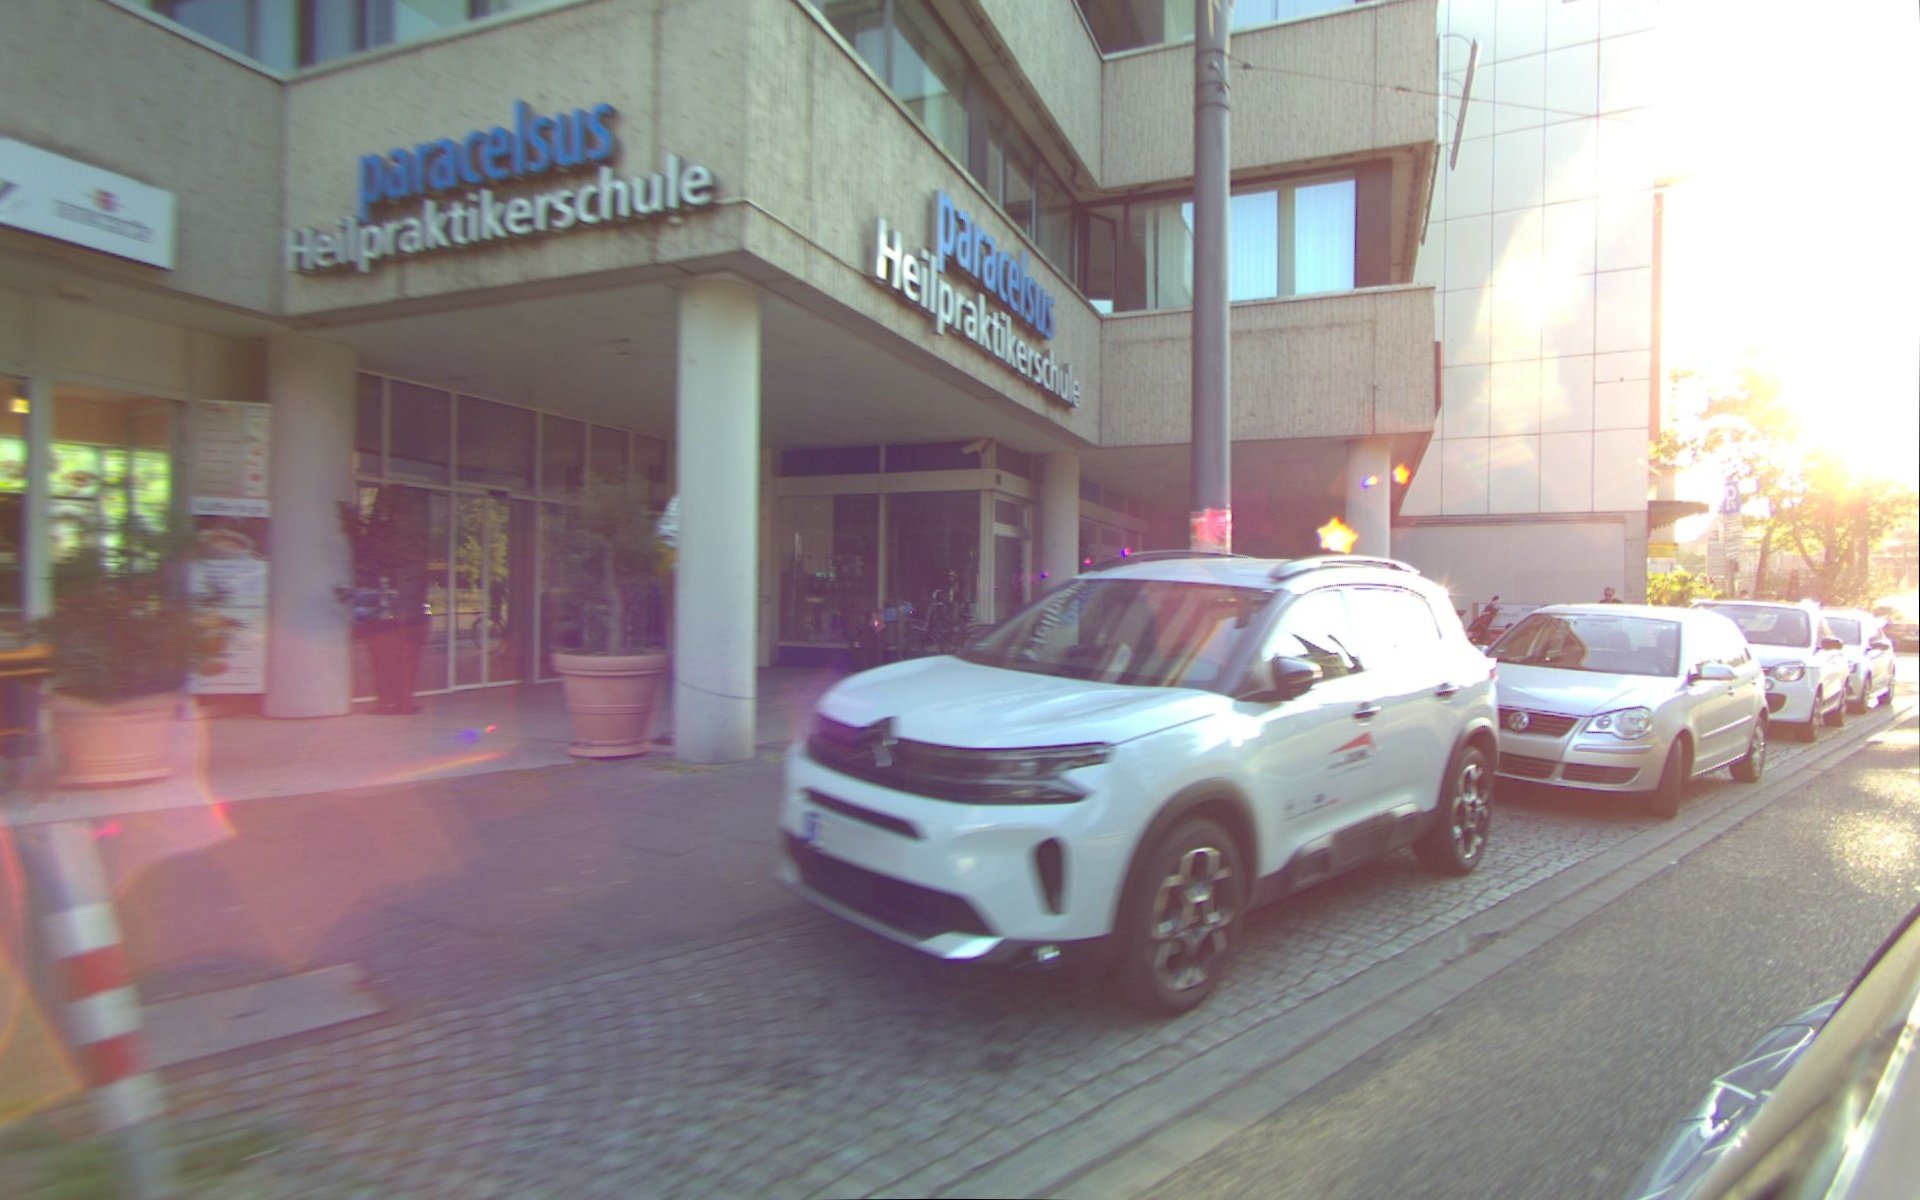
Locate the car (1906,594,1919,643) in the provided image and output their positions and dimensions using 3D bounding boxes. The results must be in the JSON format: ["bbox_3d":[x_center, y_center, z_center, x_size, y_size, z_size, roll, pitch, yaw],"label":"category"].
[{"bbox_3d":[35.276,0.640,36.317,1.805,1.691,4.734,-1,-1,45],"label":"car"}]

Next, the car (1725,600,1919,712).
[{"bbox_3d":[13.568,0.765,15.781,3.929,1.474,1.788,0,1,-40],"label":"car"}]

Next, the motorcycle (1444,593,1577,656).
[{"bbox_3d":[11.091,0.474,20.447,2.272,1.205,0.695,0,-1,40],"label":"motorcycle"}]

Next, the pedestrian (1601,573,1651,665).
[{"bbox_3d":[12.218,0.342,18.588,0.634,1.648,0.849,0,-1,25],"label":"pedestrian"}]

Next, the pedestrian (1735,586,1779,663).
[{"bbox_3d":[19.215,0.586,24.423,0.634,1.809,0.849,0,-1,25],"label":"pedestrian"}]

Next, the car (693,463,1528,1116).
[{"bbox_3d":[1.080,0.533,4.986,4.327,1.827,1.785,0,-1,-43],"label":"car"}]

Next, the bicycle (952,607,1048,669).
[{"bbox_3d":[0.549,0.514,14.356,1.390,0.839,0.431,0,-1,40],"label":"bicycle"}]

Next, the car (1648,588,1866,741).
[{"bbox_3d":[9.895,0.683,12.478,3.606,1.611,1.586,0,-1,-43],"label":"car"}]

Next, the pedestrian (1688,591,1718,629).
[{"bbox_3d":[35.048,0.462,47.730,0.882,1.748,0.769,1,0,18],"label":"pedestrian"}]

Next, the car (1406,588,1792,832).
[{"bbox_3d":[5.401,0.704,8.354,3.930,1.548,1.643,0,-1,-41],"label":"car"}]

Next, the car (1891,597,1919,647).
[{"bbox_3d":[31.503,0.688,32.790,3.998,1.554,1.652,0,-1,-43],"label":"car"}]

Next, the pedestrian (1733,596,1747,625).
[{"bbox_3d":[45.691,0.606,59.262,0.514,1.715,0.765,0,-1,29],"label":"pedestrian"}]
